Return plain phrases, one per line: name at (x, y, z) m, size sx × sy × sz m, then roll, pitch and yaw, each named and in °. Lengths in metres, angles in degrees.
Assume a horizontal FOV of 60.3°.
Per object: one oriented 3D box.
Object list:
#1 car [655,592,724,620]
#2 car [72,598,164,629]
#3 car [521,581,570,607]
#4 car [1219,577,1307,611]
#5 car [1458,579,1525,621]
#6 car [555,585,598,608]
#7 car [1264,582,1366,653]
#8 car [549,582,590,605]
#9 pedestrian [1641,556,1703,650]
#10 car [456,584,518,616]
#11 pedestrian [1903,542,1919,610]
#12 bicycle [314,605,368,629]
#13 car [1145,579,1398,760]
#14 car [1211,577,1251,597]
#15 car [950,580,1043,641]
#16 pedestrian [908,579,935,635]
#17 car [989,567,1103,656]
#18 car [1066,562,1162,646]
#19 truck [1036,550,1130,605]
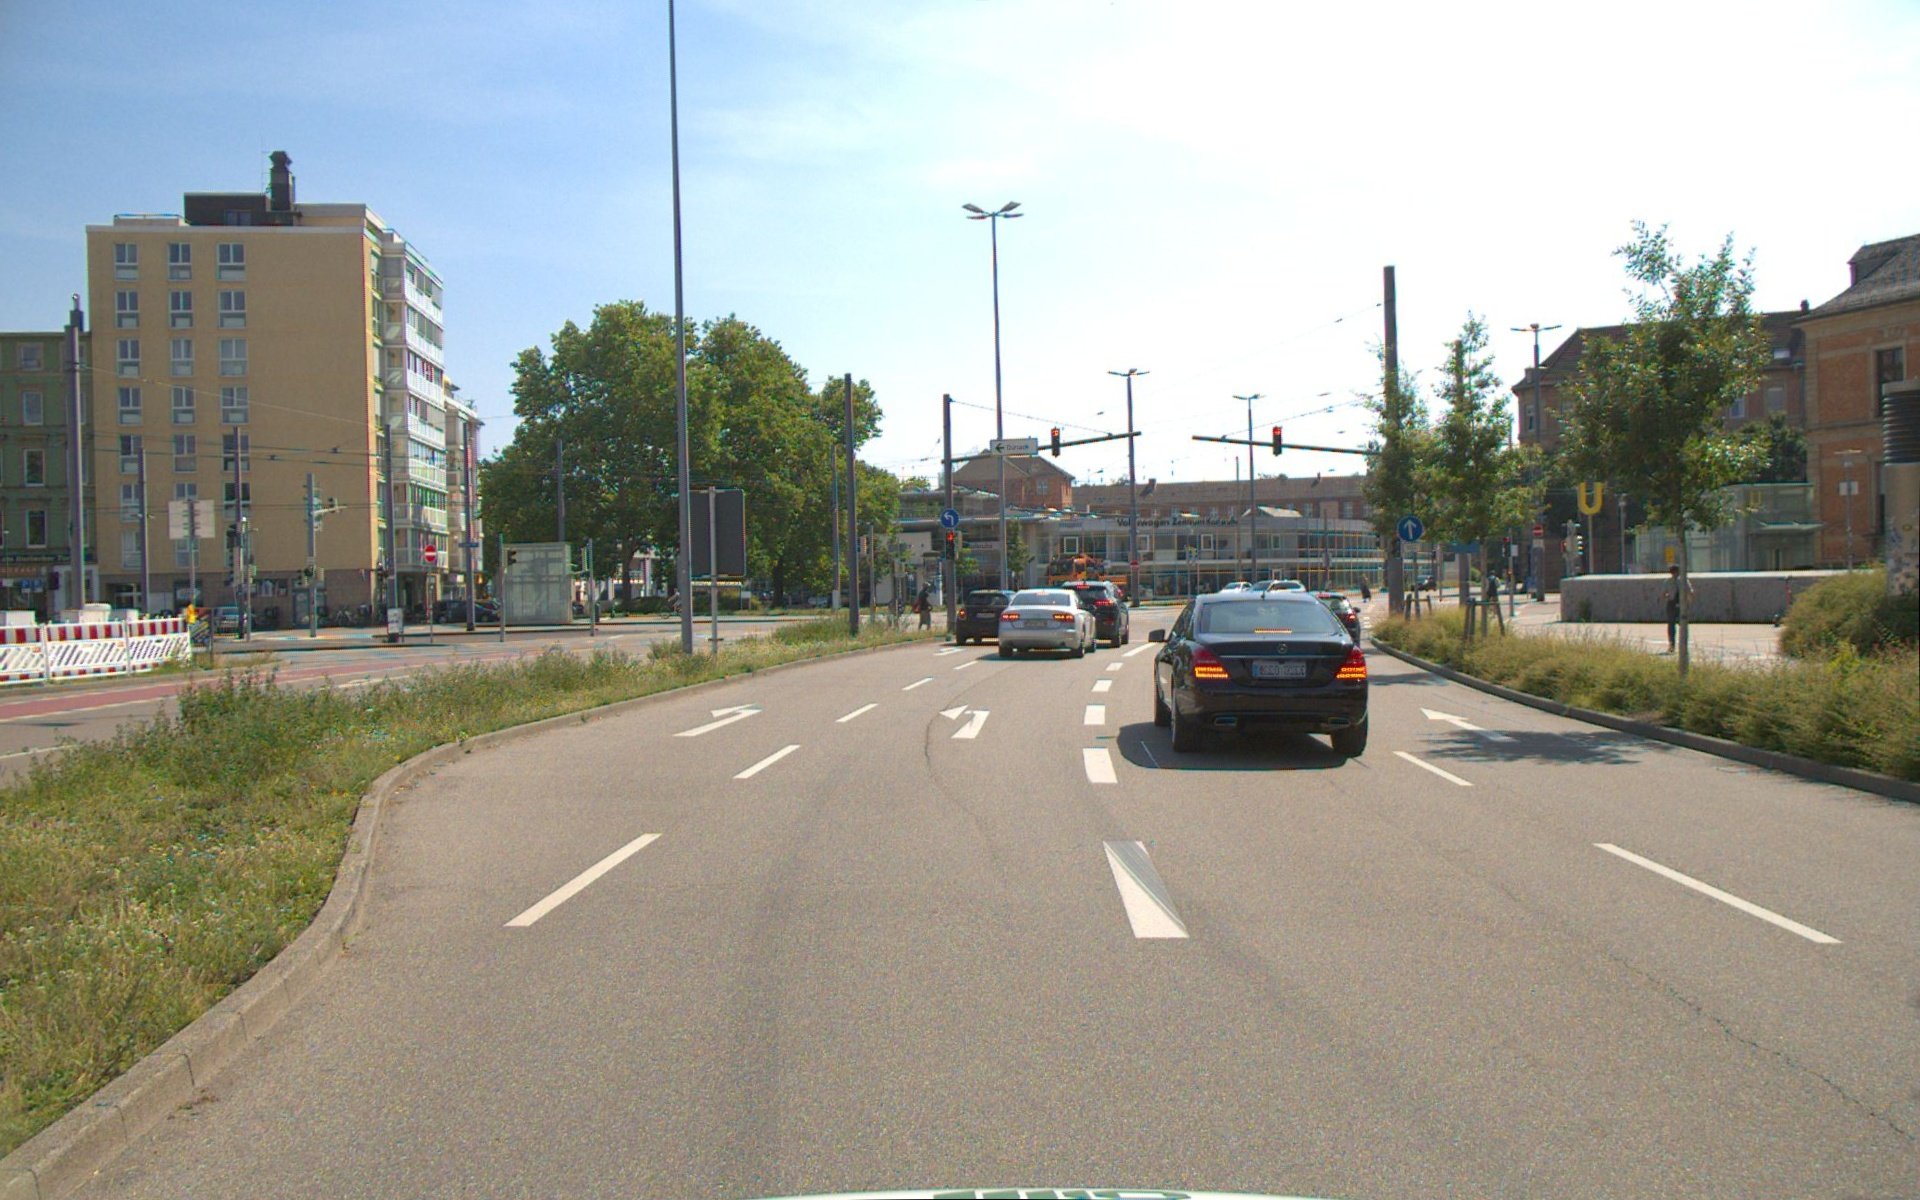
car at (-15.863, 0.322, 97.043) m, size 3.911 × 1.536 × 1.797 m, roll -1°, pitch 0°, yaw -7°
car at (-44.139, 0.687, 86.723) m, size 3.970 × 1.536 × 1.771 m, roll -1°, pitch 0°, yaw -45°
car at (-34.910, -0.530, 139.479) m, size 3.919 × 2.048 × 1.993 m, roll -2°, pitch 3°, yaw -14°
car at (14.889, -0.301, 81.276) m, size 4.224 × 1.536 × 1.779 m, roll -2°, pitch 0°, yaw -34°
car at (21.050, -0.013, 65.415) m, size 1.760 × 1.536 × 4.271 m, roll -1°, pitch 0°, yaw 28°
car at (-37.104, -0.356, 160.096) m, size 3.919 × 2.048 × 1.993 m, roll -2°, pitch 3°, yaw -14°
car at (8.010, 0.368, 37.606) m, size 1.756 × 1.536 × 4.002 m, roll 0°, pitch 0°, yaw 4°
car at (-38.918, -0.646, 164.766) m, size 3.919 × 2.048 × 1.993 m, roll -2°, pitch 3°, yaw -14°
pedestrian at (13.530, 0.053, 31.454) m, size 0.852 × 1.755 × 0.800 m, roll -1°, pitch 0°, yaw 5°
car at (-32.346, -0.007, 113.249) m, size 3.919 × 2.048 × 1.993 m, roll -2°, pitch 3°, yaw -14°
pedestrian at (24.065, -0.598, 41.266) m, size 0.636 × 1.690 × 0.648 m, roll -1°, pitch 0°, yaw -10°
bicycle at (-36.084, 0.997, 96.417) m, size 2.764 × 1.243 × 0.991 m, roll -2°, pitch 3°, yaw -12°
car at (3.011, 0.639, 16.978) m, size 1.820 × 1.557 × 4.714 m, roll -2°, pitch -1°, yaw 2°
car at (21.741, -1.079, 132.612) m, size 1.761 × 1.536 × 3.991 m, roll -1°, pitch 0°, yaw 32°
car at (1.046, 0.247, 44.904) m, size 1.756 × 1.536 × 4.004 m, roll -1°, pitch 0°, yaw 13°
pedestrian at (-1.194, 0.212, 51.042) m, size 0.634 × 1.690 × 0.664 m, roll -1°, pitch 0°, yaw 16°
car at (1.983, 0.233, 37.004) m, size 1.951 × 1.847 × 4.004 m, roll -1°, pitch 0°, yaw 11°
car at (4.066, 0.080, 43.100) m, size 1.951 × 2.049 × 4.004 m, roll -1°, pitch 0°, yaw 13°
truck at (8.933, -1.638, 118.979) m, size 3.012 × 3.795 × 7.901 m, roll -1°, pitch 0°, yaw 36°
